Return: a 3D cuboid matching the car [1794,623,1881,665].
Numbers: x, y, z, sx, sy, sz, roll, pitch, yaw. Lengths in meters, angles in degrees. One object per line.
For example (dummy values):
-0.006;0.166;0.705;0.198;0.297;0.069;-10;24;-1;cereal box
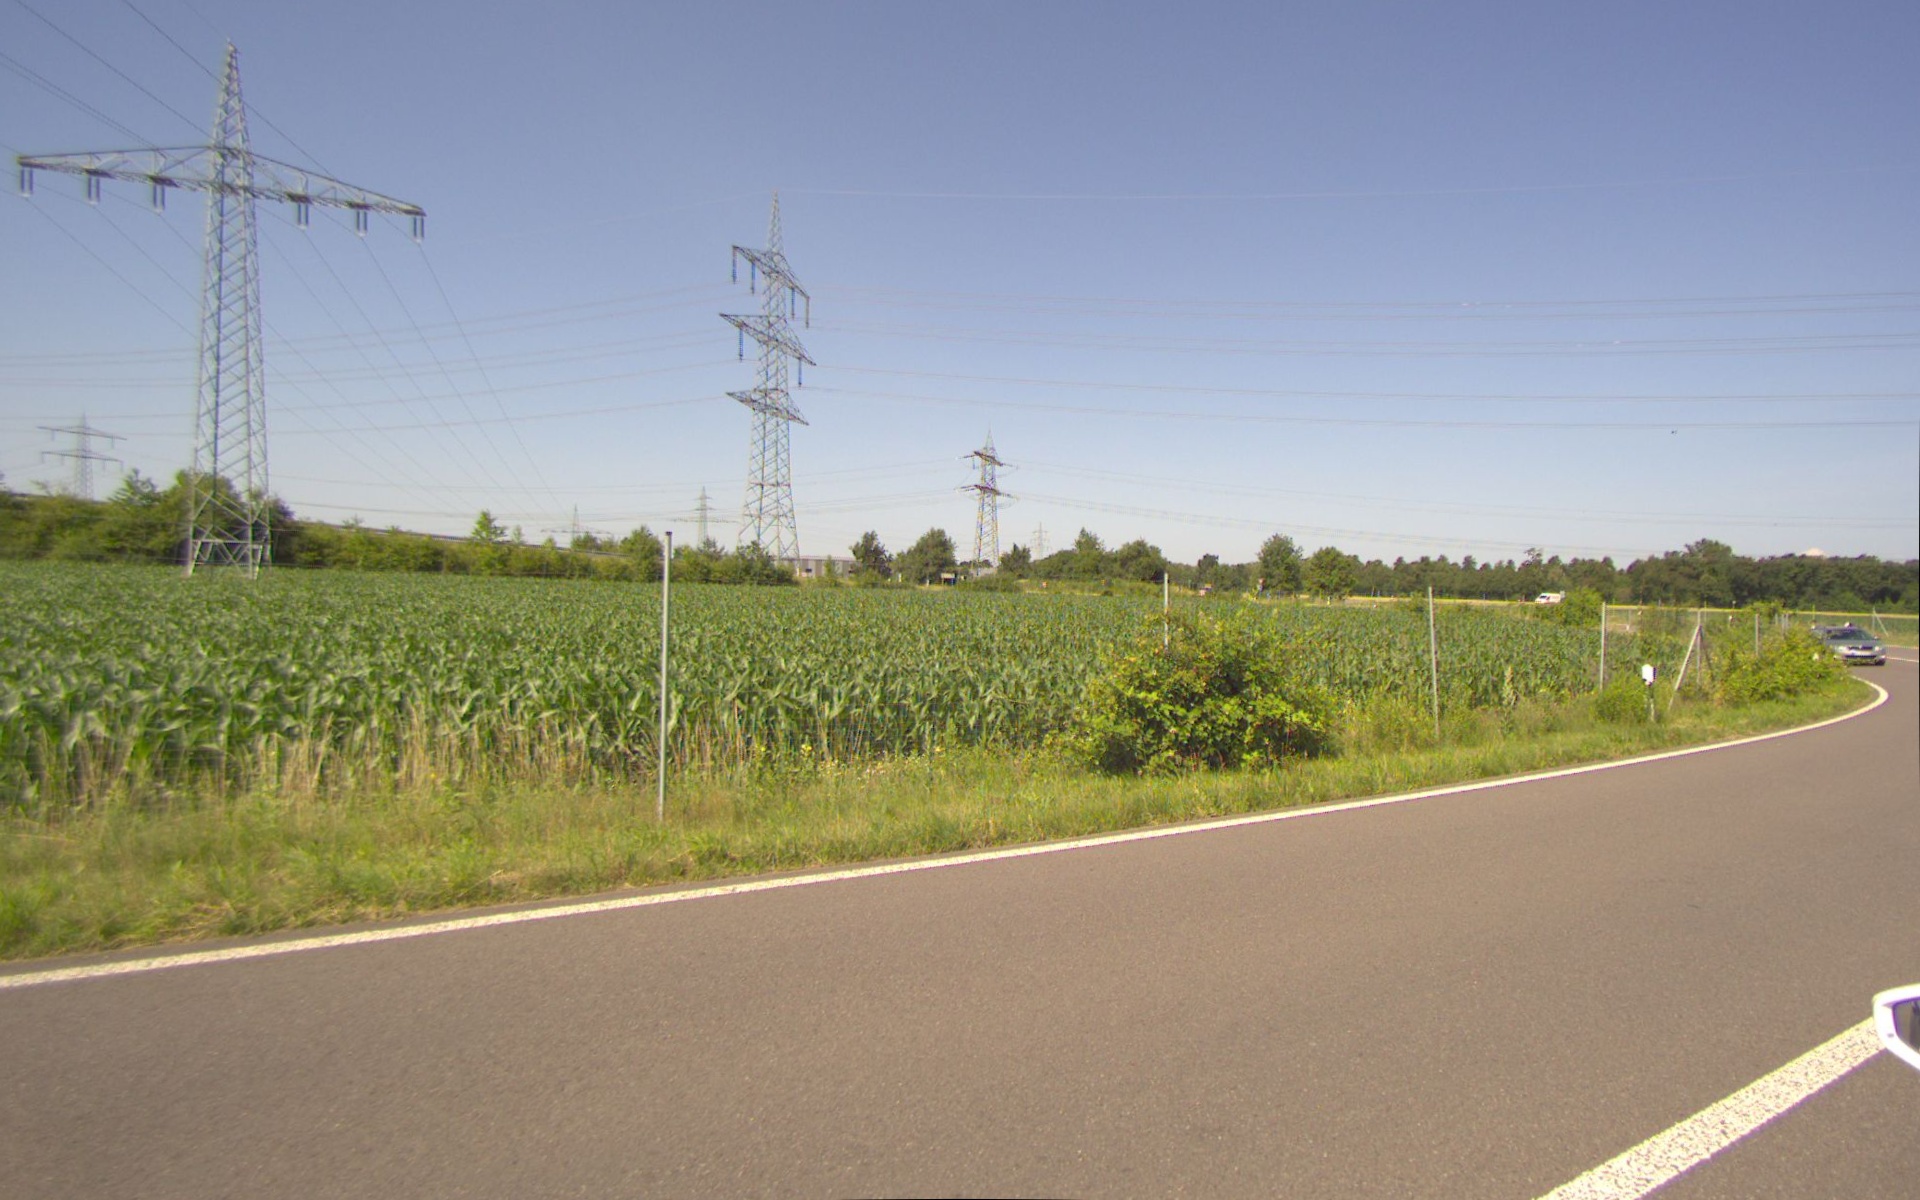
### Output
34.476;1.705;39.602;1.841;1.500;5.122;-2;-2;33;car
